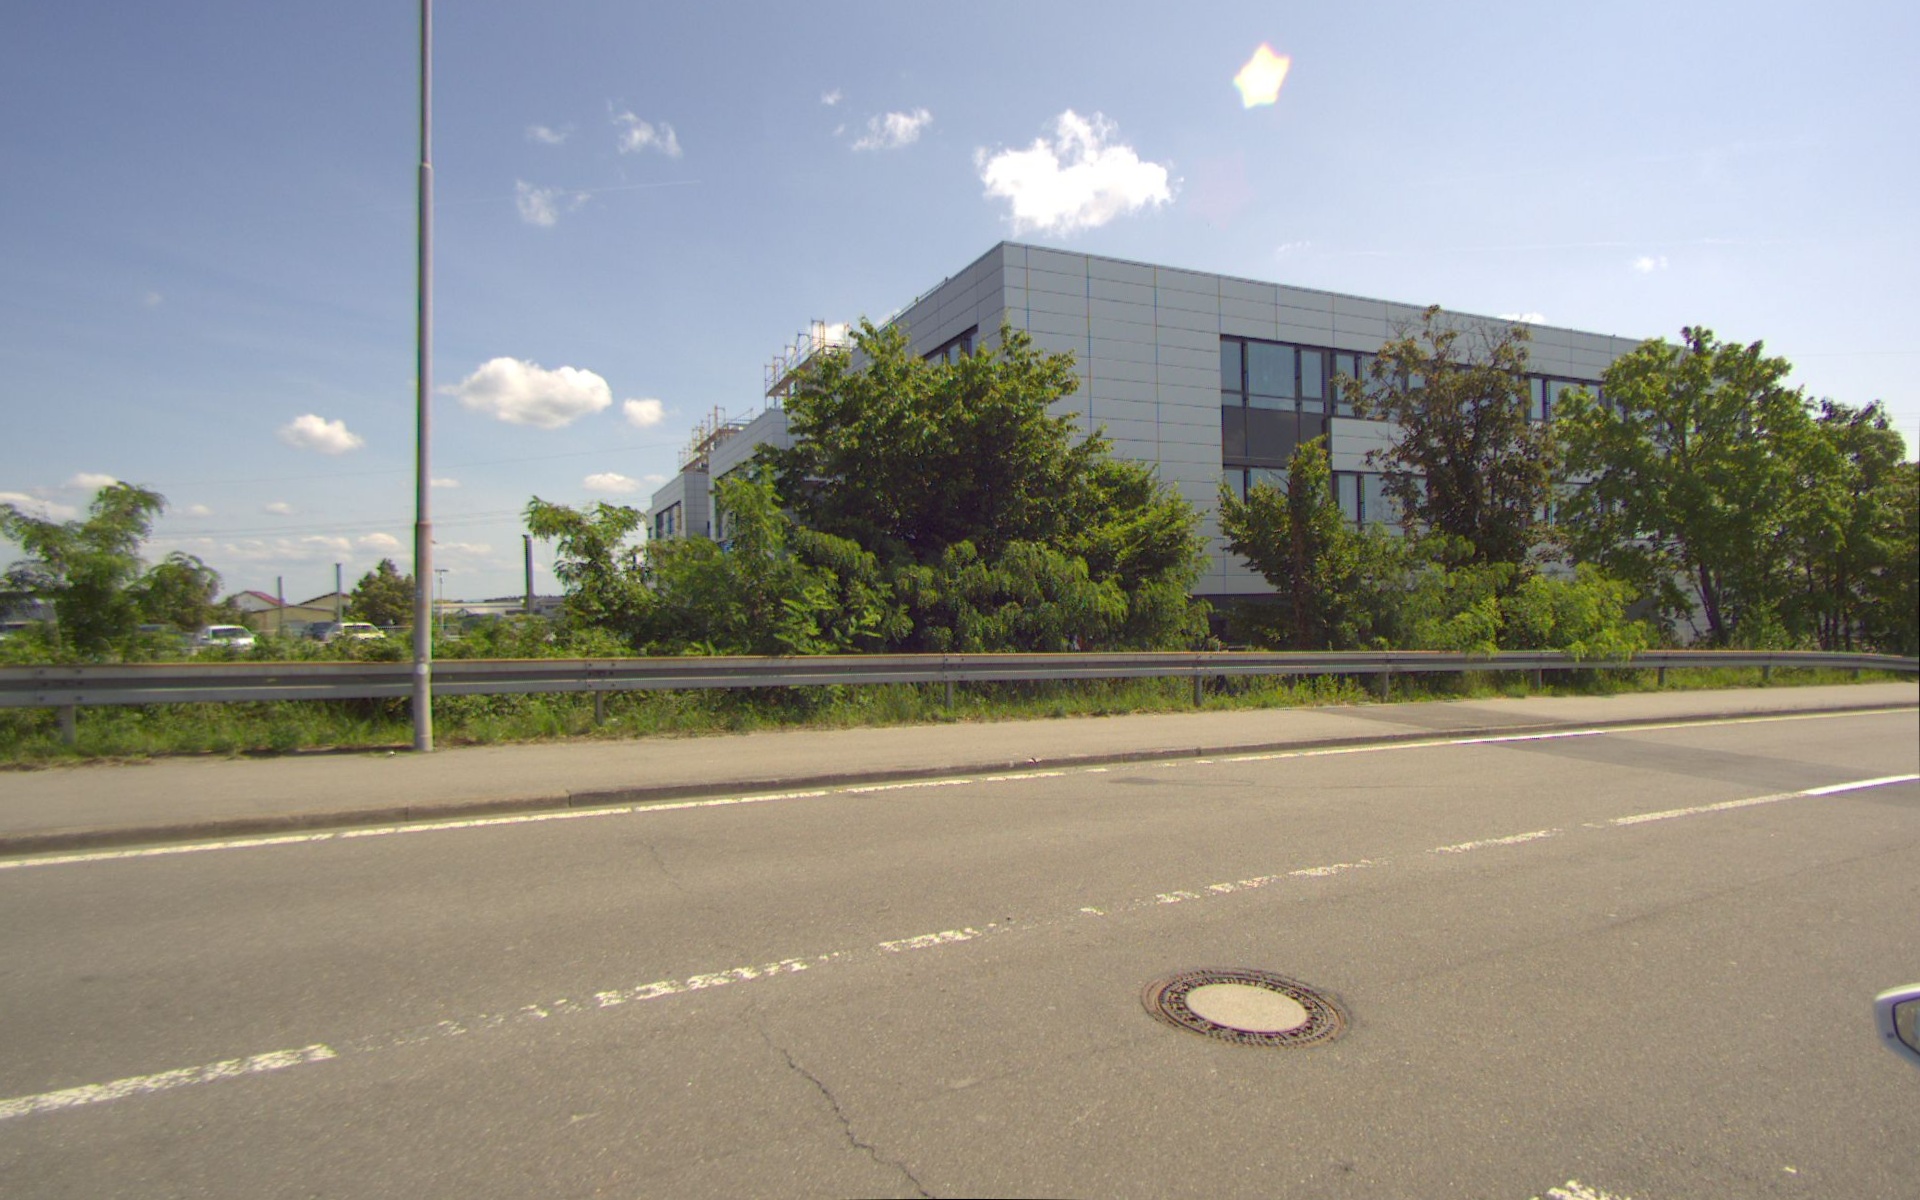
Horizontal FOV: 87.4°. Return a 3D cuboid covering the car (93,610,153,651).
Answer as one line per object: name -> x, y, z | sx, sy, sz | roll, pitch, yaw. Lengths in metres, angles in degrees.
car -> -44.268, 1.566, 53.093 | 3.944, 2.040, 1.989 | 1, 0, 43

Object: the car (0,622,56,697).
car -> -29.354, 1.798, 30.895 | 3.944, 2.041, 1.949 | 1, 2, 44

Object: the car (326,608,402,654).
car -> -28.109, 1.407, 47.327 | 3.943, 2.041, 1.989 | 0, 1, 42

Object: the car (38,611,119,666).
car -> -35.538, 1.496, 40.477 | 3.943, 2.041, 1.989 | 0, 1, 42

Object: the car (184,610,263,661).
car -> -32.152, 1.494, 43.825 | 3.943, 2.041, 1.989 | 0, 1, 42
